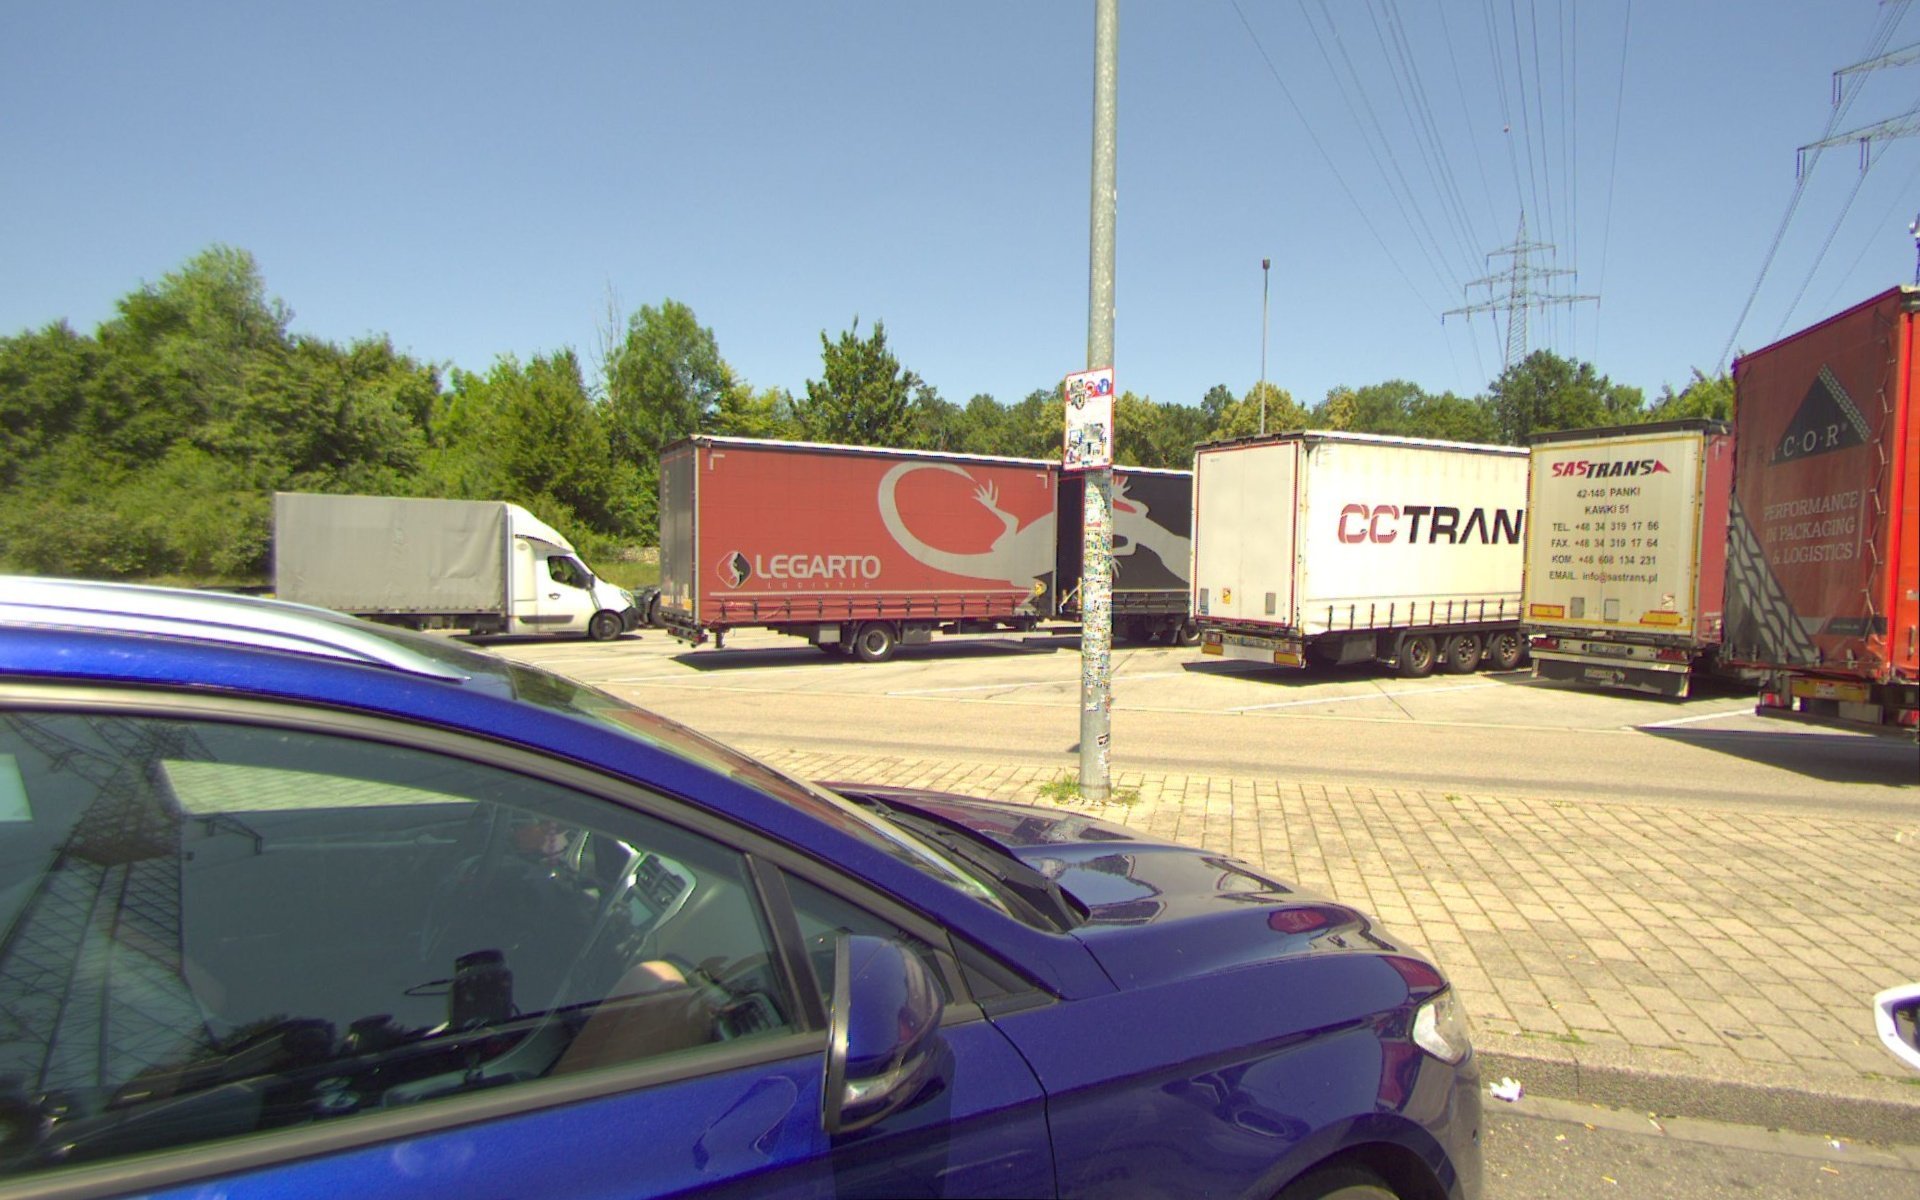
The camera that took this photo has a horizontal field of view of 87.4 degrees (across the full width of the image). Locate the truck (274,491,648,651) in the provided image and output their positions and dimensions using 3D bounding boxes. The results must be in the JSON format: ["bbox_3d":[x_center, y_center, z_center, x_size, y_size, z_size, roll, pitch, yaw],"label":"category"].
[{"bbox_3d":[-11.075,-0.603,22.854,7.265,3.170,2.352,0,1,-30],"label":"truck"}]

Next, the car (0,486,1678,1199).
[{"bbox_3d":[-1.007,0.653,1.471,4.419,1.485,1.765,0,1,-32],"label":"car"}]

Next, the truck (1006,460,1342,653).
[{"bbox_3d":[5.406,-0.909,24.588,8.534,4.073,2.624,0,1,-30],"label":"truck"}]

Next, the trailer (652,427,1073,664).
[{"bbox_3d":[-1.787,-0.917,20.316,8.158,4.027,2.651,0,1,-30],"label":"trailer"}]

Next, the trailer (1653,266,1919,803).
[{"bbox_3d":[11.471,-0.491,8.690,8.509,4.315,2.844,1,1,13],"label":"trailer"}]

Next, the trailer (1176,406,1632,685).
[{"bbox_3d":[8.715,-0.830,19.113,9.614,4.321,2.733,0,1,-29],"label":"trailer"}]

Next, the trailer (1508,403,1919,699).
[{"bbox_3d":[15.272,-0.671,18.494,13.129,4.112,2.736,0,1,-31],"label":"trailer"}]

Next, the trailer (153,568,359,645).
[{"bbox_3d":[-16.507,0.148,23.795,3.856,1.684,1.464,0,1,-30],"label":"trailer"}]
